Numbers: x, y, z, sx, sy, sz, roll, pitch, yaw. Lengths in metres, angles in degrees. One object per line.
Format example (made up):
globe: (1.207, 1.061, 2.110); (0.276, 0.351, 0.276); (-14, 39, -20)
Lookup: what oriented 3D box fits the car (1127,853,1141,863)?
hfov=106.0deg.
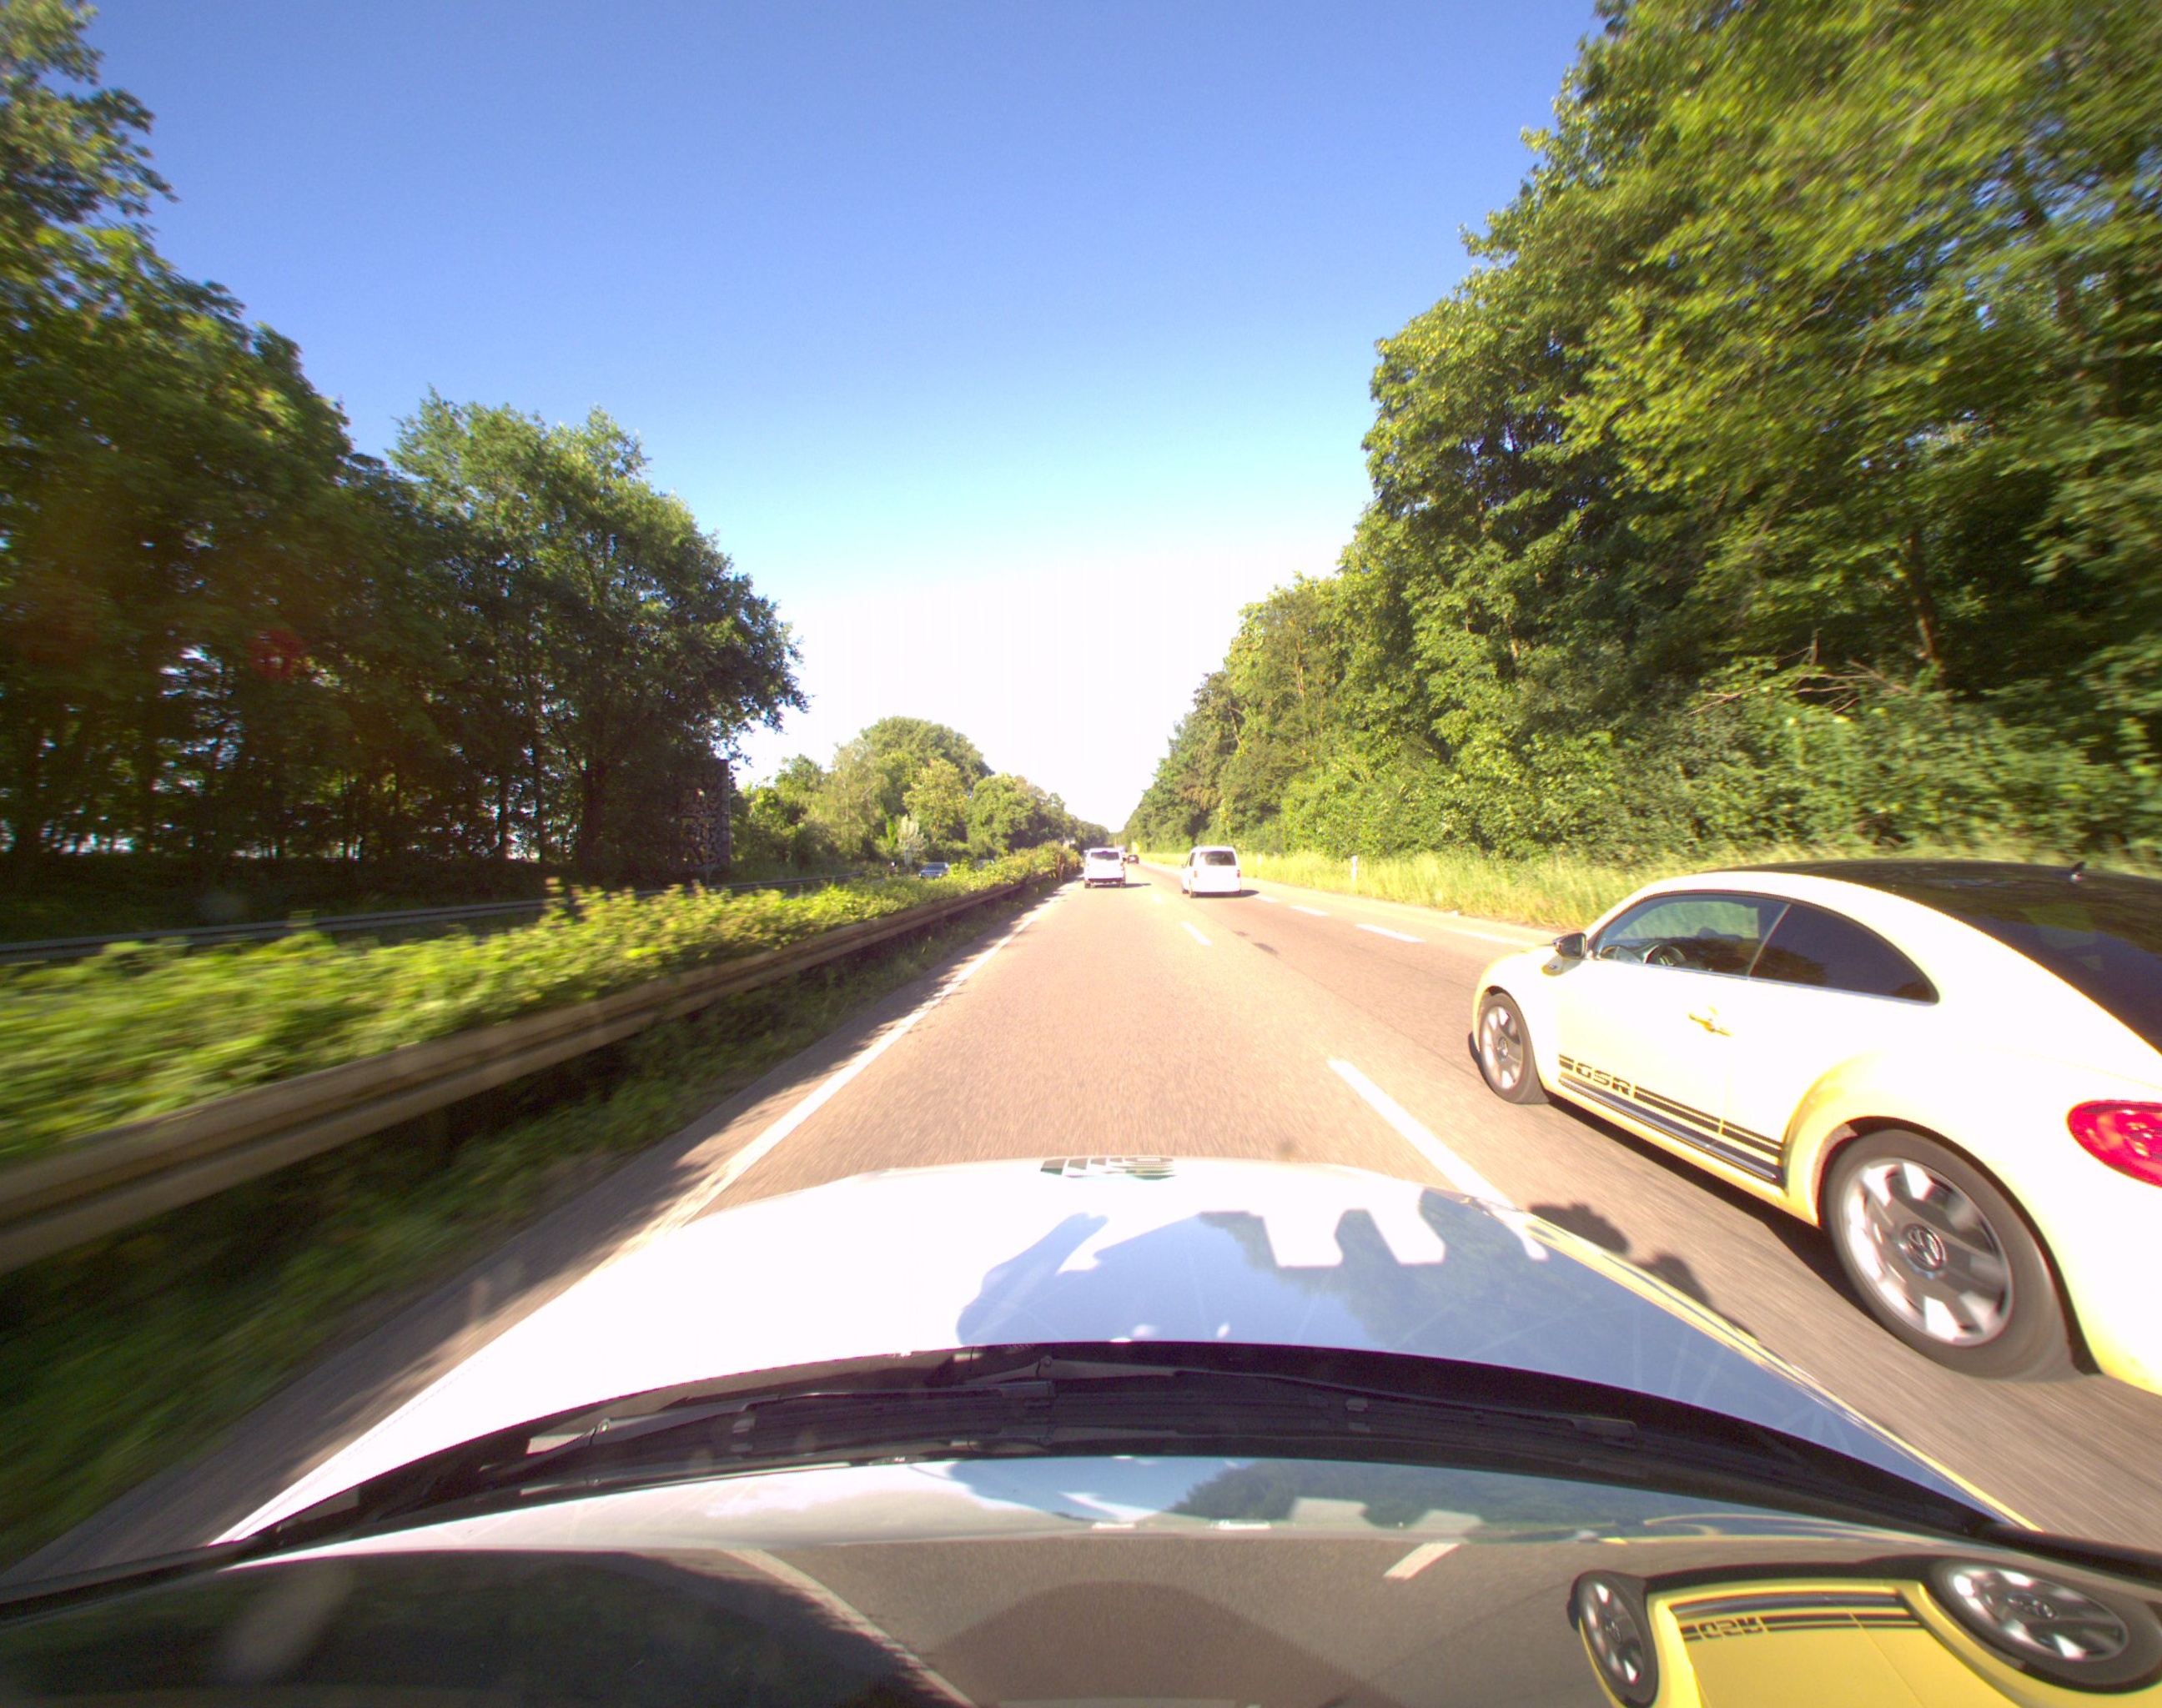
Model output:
car: (7.988, 0.583, 123.957); (1.986, 1.398, 4.001); (-1, 0, 2)

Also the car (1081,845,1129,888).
car: (1.037, 0.555, 37.457); (2.079, 1.828, 3.999); (-1, 0, 0)

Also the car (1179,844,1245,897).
car: (4.673, 0.540, 29.649); (1.856, 1.770, 4.472); (-1, 0, 2)

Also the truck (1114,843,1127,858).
truck: (11.602, -0.913, 241.662); (3.483, 4.172, 8.865); (-2, 0, 2)

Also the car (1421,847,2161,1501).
car: (3.434, 0.719, 3.912); (1.872, 1.461, 4.357); (-1, 0, 1)

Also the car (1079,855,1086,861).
car: (0.328, 1.160, 240.836); (1.870, 1.540, 4.466); (-2, 0, 2)

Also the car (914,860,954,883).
car: (-10.174, 1.174, 56.616); (1.955, 1.450, 4.505); (-1, 0, 0)
